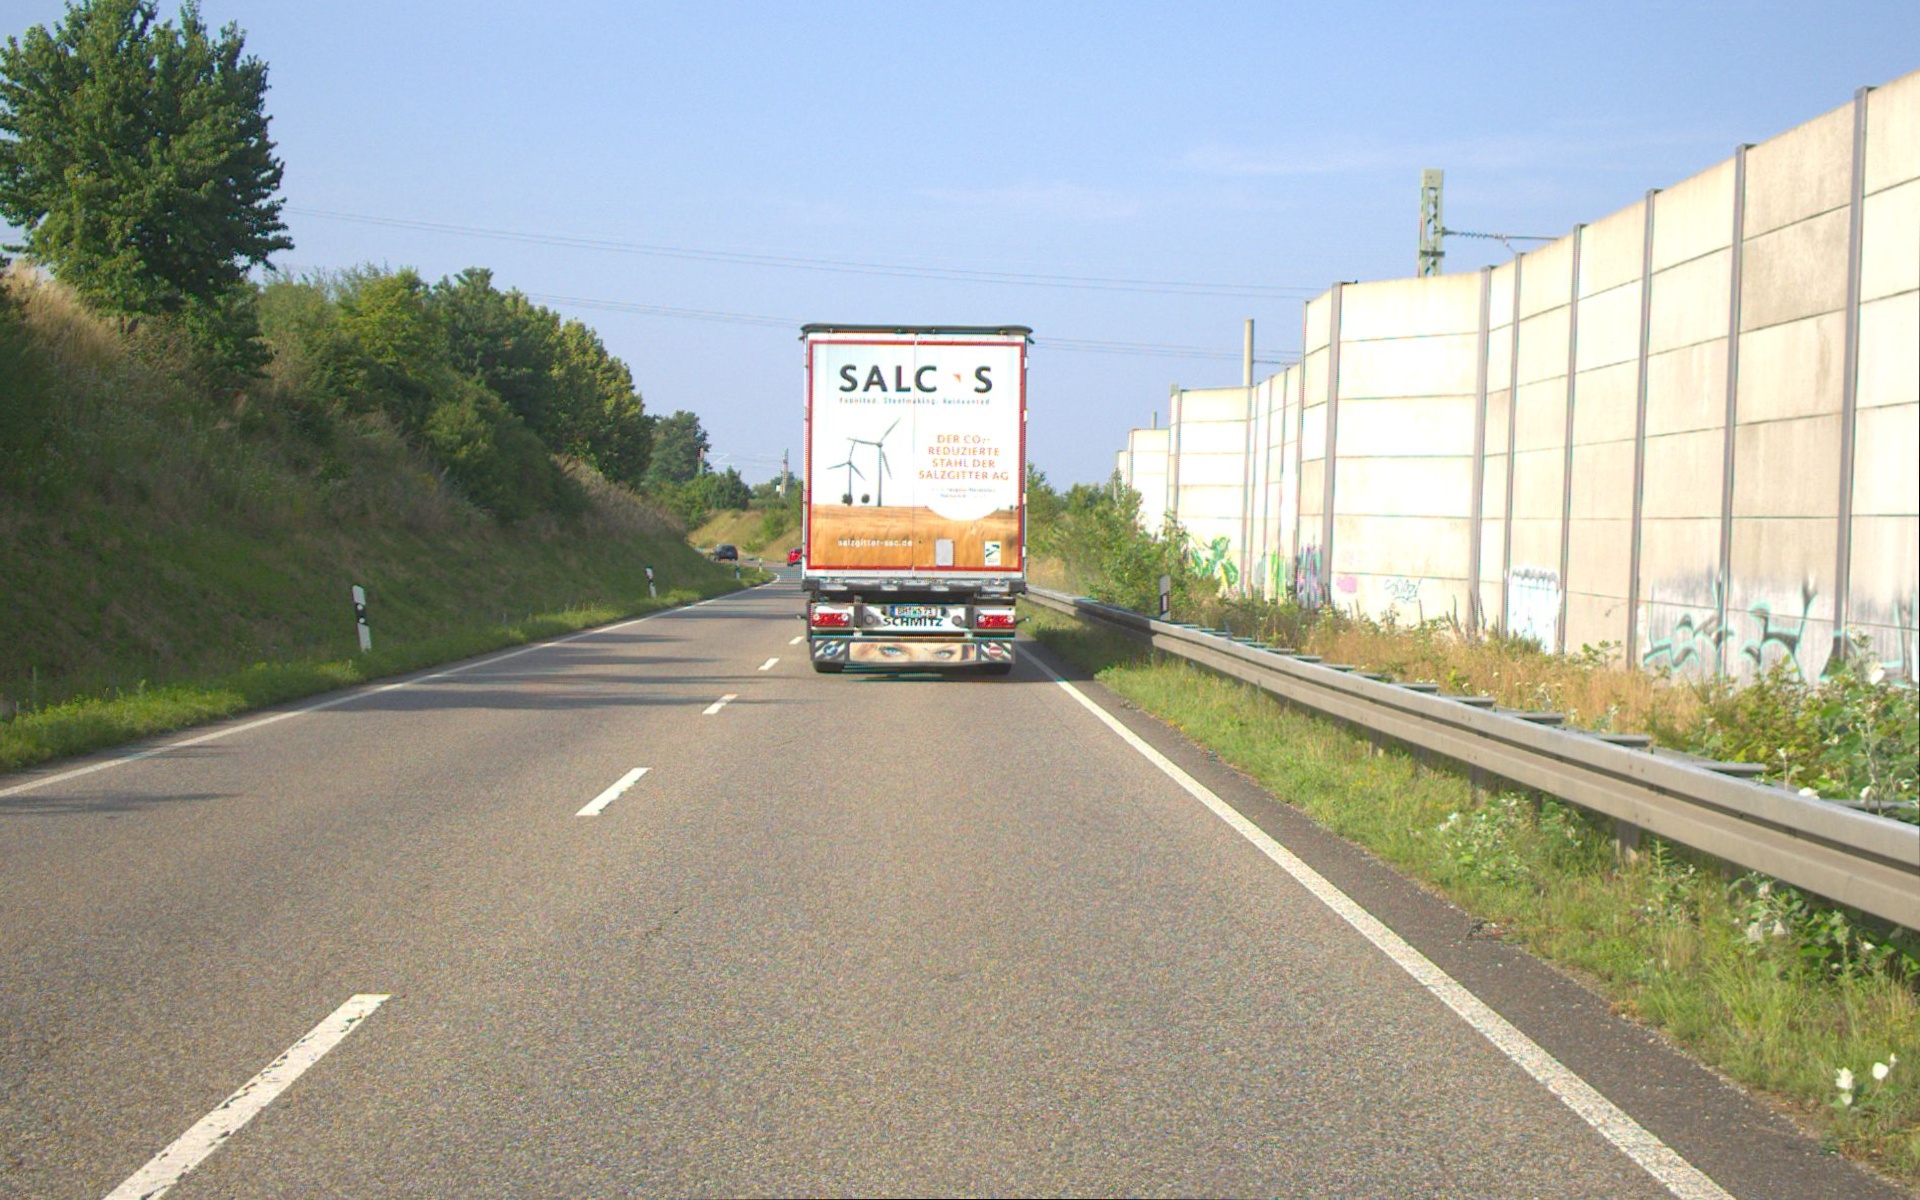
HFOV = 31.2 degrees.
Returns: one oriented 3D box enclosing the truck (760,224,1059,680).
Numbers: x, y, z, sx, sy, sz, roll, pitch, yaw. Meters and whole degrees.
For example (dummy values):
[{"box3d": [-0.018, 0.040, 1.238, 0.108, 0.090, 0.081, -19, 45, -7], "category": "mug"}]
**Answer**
[{"box3d": [-0.850, -1.812, 44.649, 3.290, 5.072, 12.039, 1, 1, -3], "category": "truck"}]
